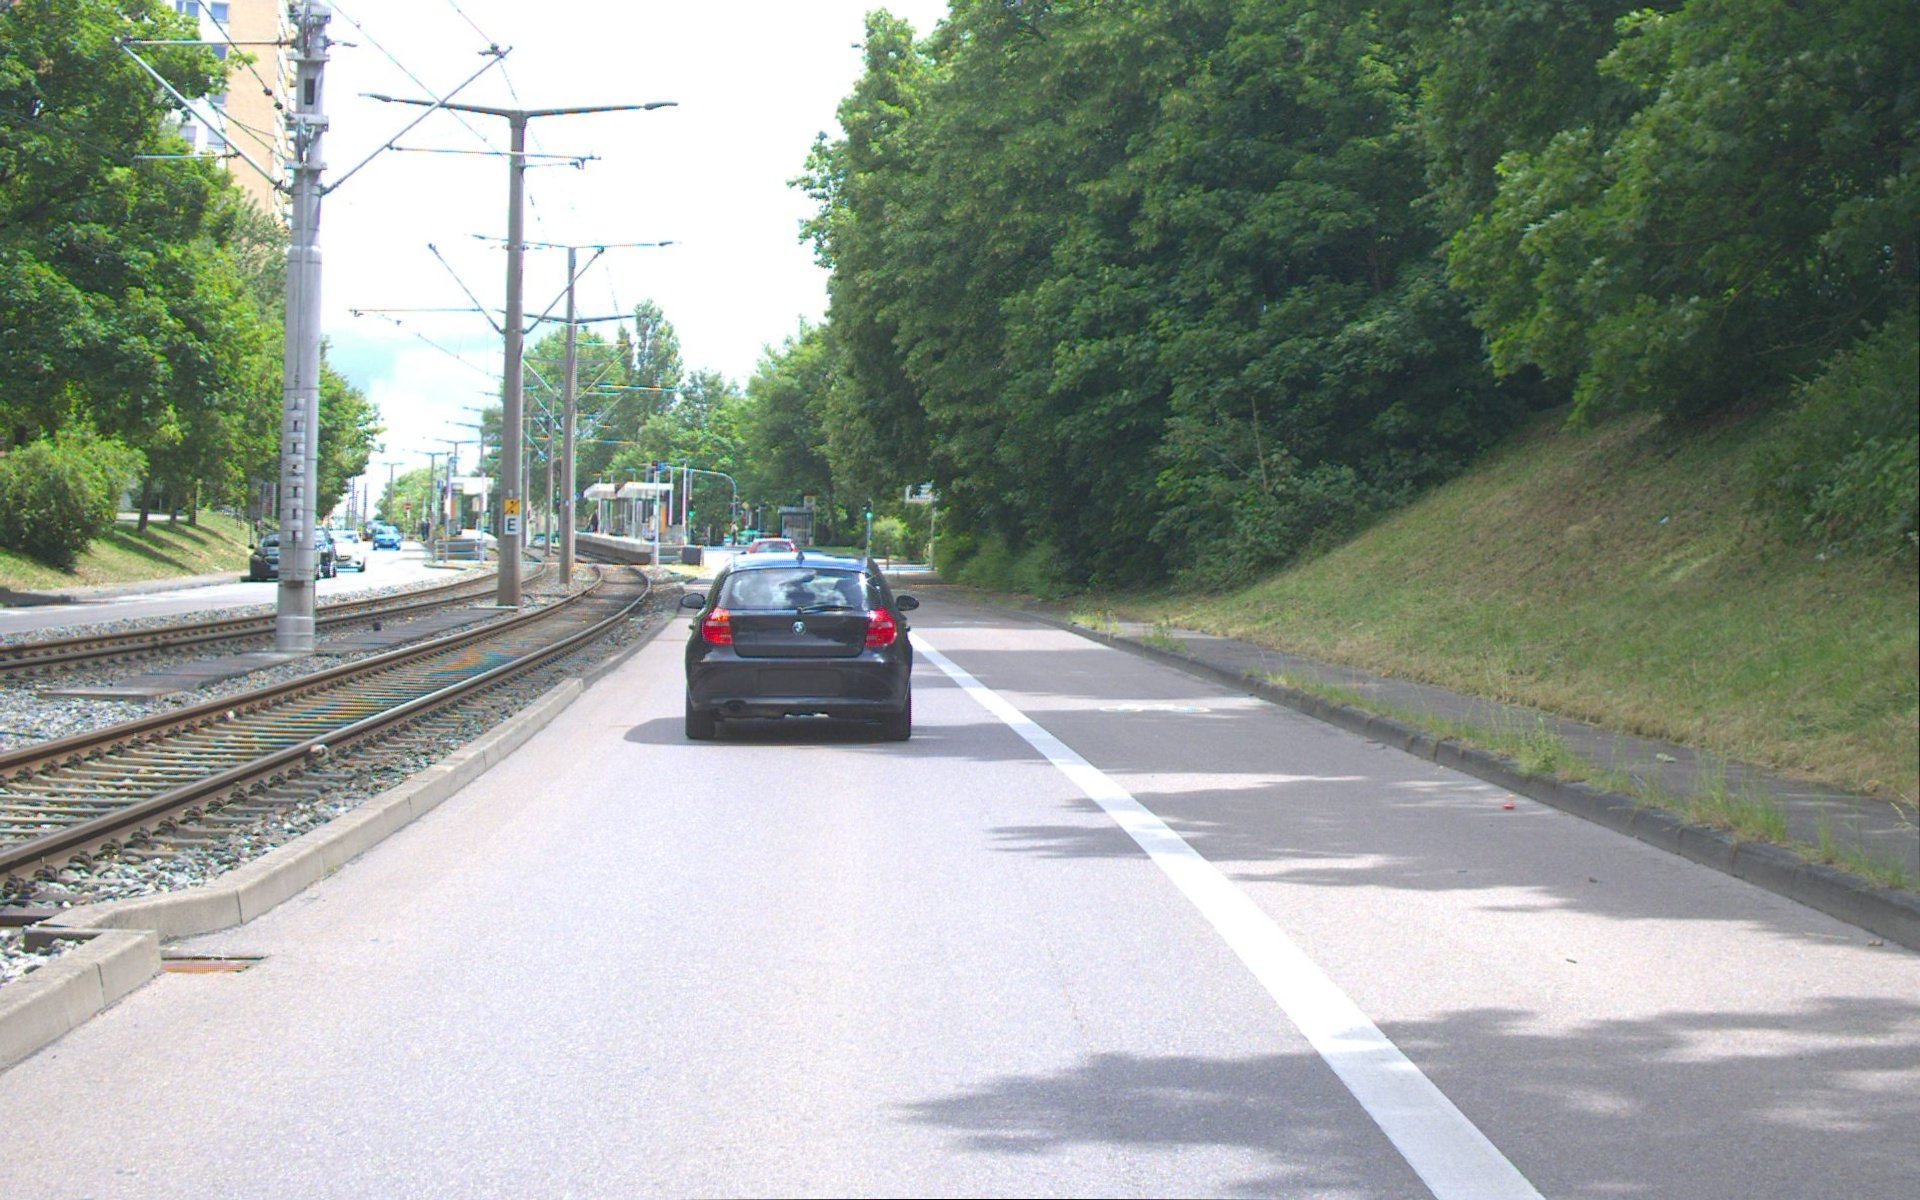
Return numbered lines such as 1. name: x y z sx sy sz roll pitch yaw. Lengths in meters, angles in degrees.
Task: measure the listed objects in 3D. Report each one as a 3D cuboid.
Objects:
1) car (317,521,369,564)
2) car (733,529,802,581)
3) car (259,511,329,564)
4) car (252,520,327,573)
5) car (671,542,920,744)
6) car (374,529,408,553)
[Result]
1. car: -22.209 -2.089 123.838 1.781 1.527 4.246 0 1 -9
2. car: -5.627 -1.328 100.050 1.781 1.454 3.922 1 1 -6
3. car: -20.705 -1.927 107.022 1.774 1.624 4.383 0 1 -6
4. car: -19.517 -1.567 100.160 1.774 1.493 3.998 1 1 -6
5. car: -1.368 0.282 27.197 1.781 1.454 3.922 0 1 -5
6. car: -35.197 -3.636 212.673 1.715 1.437 3.944 1 1 -14
